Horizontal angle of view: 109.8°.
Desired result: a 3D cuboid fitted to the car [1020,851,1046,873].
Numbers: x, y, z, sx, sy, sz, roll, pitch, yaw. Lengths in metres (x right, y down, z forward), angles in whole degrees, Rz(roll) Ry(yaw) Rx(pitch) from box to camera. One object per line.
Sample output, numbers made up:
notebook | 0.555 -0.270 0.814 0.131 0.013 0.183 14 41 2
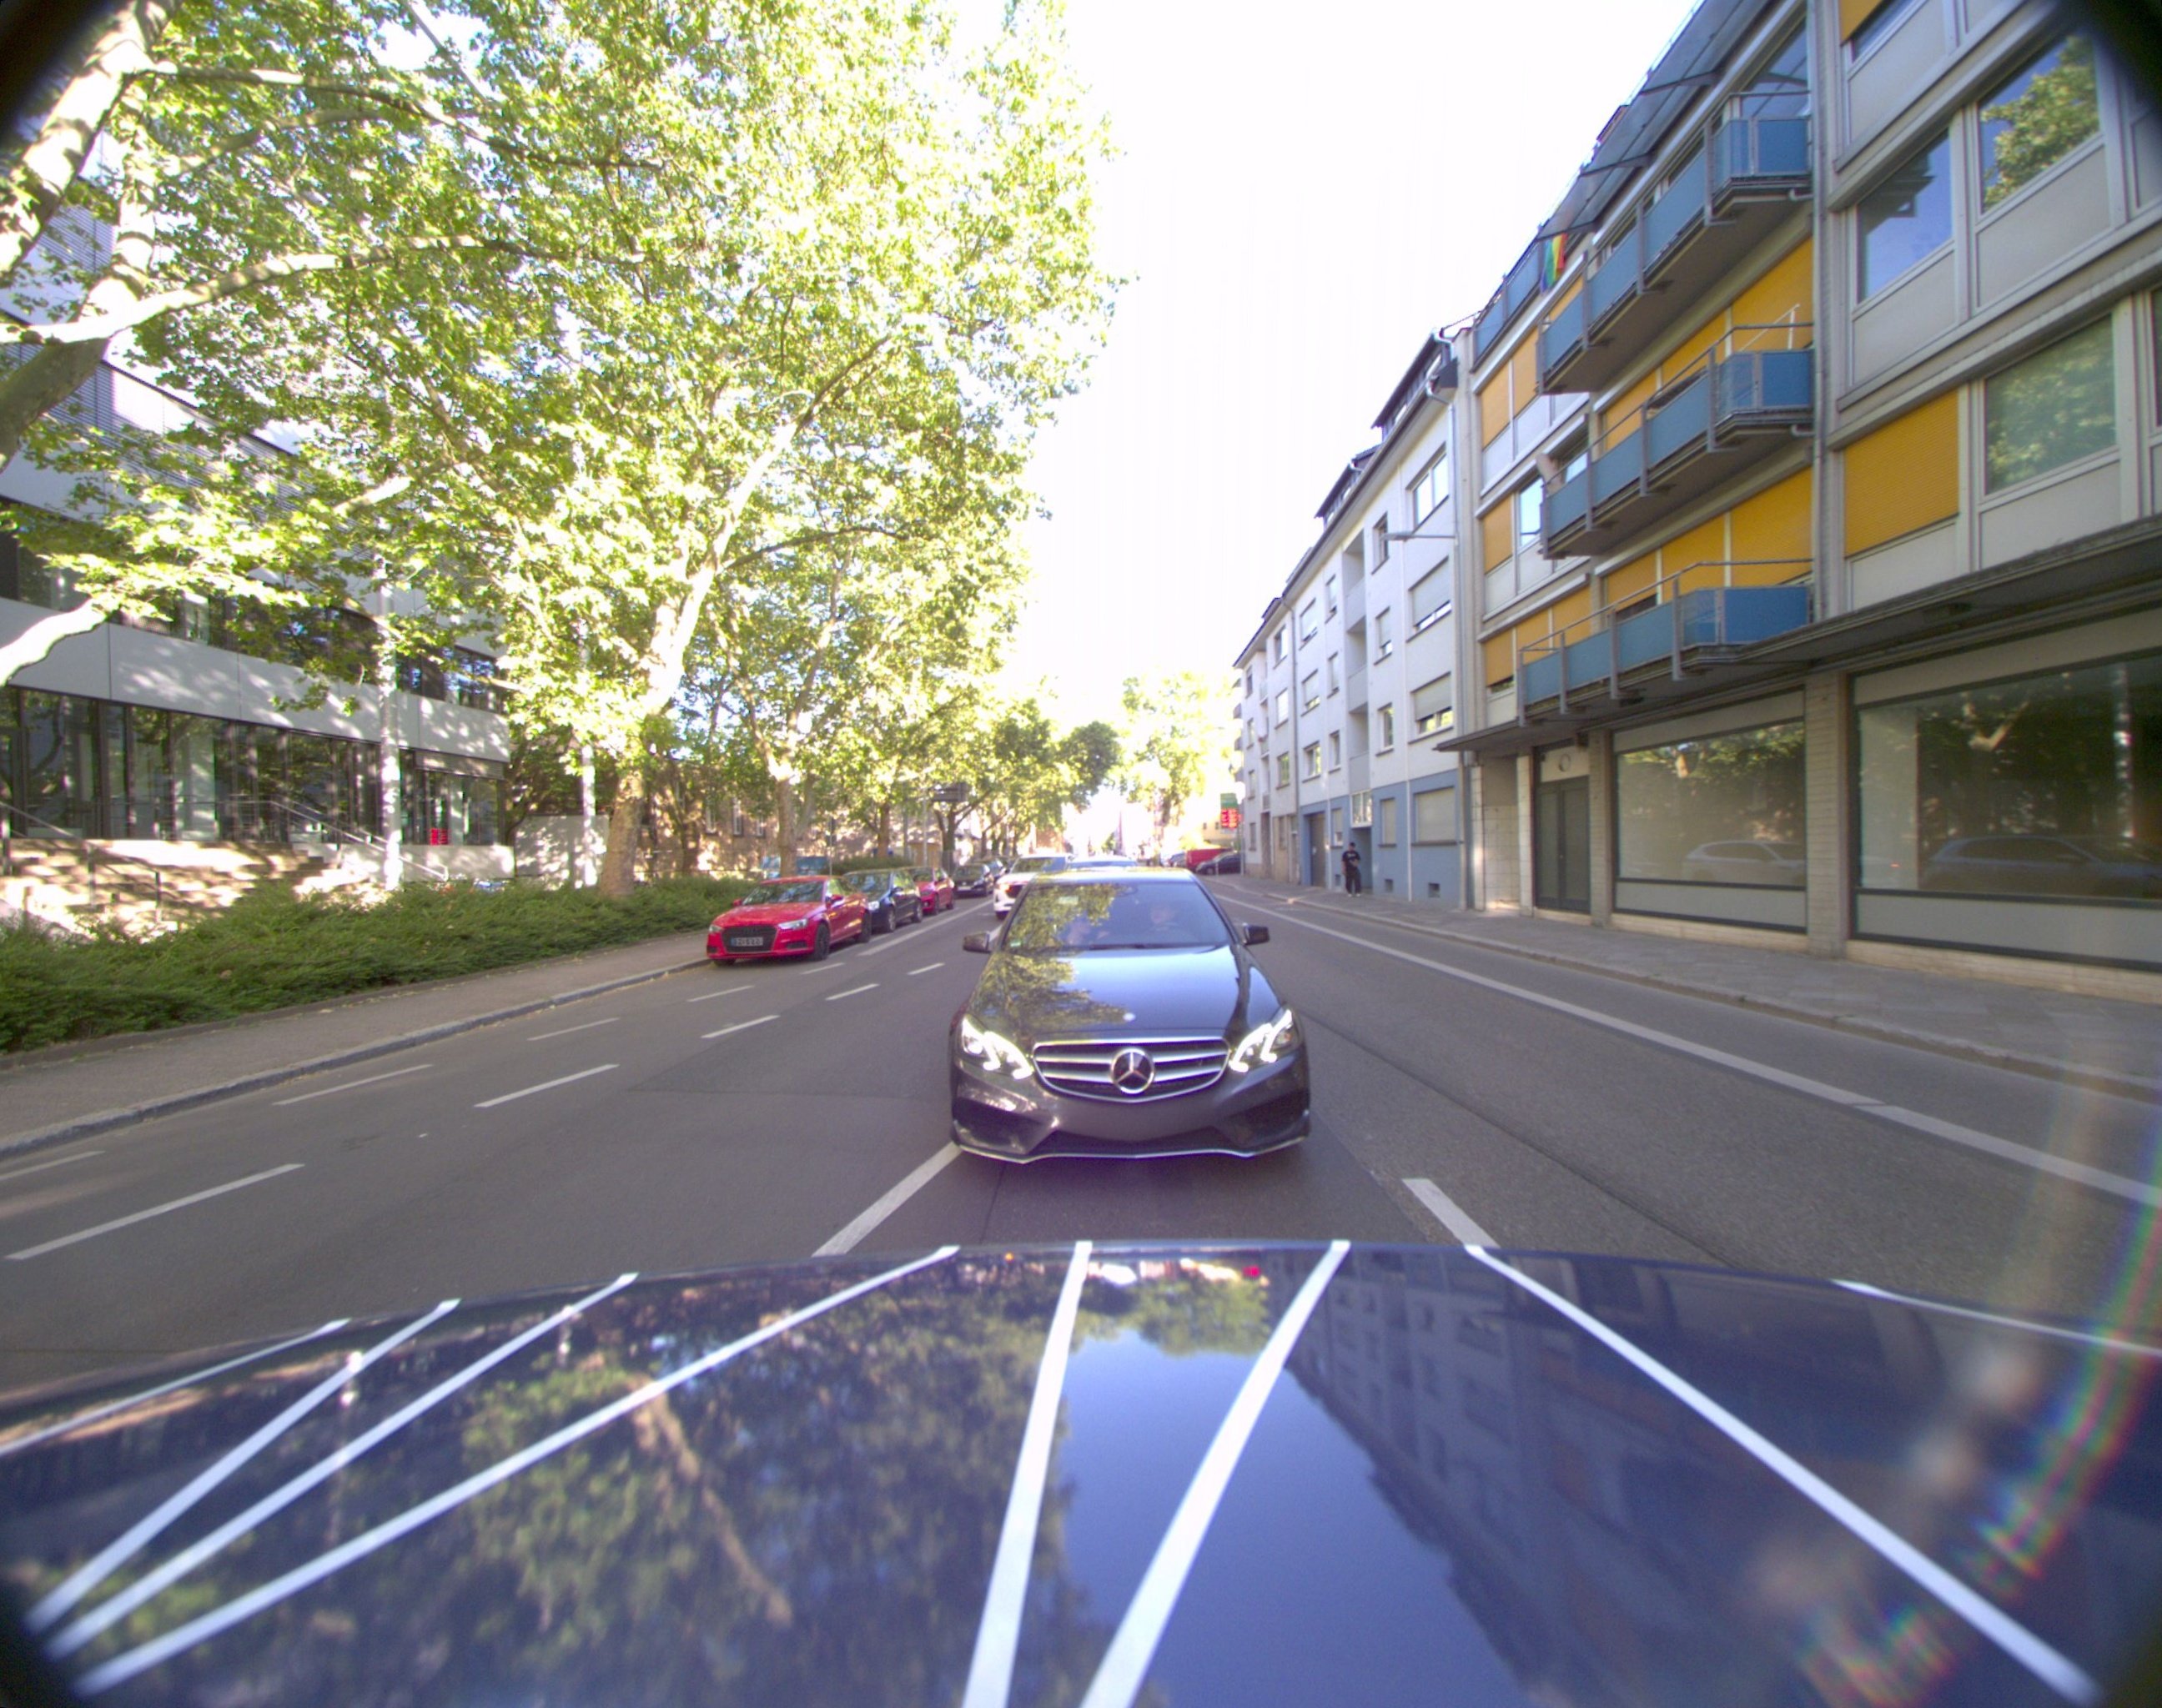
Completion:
car | -4.141 0.685 66.354 1.835 1.839 4.259 -2 0 1

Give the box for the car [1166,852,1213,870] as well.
car | 10.437 0.673 73.199 4.255 1.461 1.653 -4 0 1

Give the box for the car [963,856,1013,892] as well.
car | -4.593 0.966 38.081 1.835 1.596 4.161 -2 0 1

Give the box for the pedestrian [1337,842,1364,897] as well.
pedestrian | 8.520 0.491 24.028 0.612 1.685 0.655 -2 1 1

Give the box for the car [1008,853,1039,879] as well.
car | -4.175 0.815 55.646 1.835 1.750 4.259 -2 0 1

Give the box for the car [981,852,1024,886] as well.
car | -4.506 0.824 44.121 1.835 1.787 4.463 -2 0 1

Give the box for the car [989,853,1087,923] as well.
car | -1.048 0.842 21.170 1.908 1.678 4.814 -2 0 6

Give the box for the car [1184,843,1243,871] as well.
car | 10.419 0.222 60.136 4.255 1.907 1.818 -4 0 0

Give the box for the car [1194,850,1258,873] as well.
car | 10.404 0.517 54.754 4.255 1.392 1.653 -4 0 1

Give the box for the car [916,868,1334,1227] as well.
car | 0.228 0.917 5.578 1.849 1.490 4.302 -1 0 1

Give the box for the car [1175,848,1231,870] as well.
car | 10.056 0.408 62.718 4.255 1.461 1.653 -4 0 1

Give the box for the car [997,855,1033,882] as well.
car | -4.334 0.949 50.614 1.835 1.604 4.259 -2 0 1

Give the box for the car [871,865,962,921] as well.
car | -5.039 1.136 23.847 1.835 1.459 4.168 -2 0 1

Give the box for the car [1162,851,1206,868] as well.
car | 10.608 0.541 78.657 4.255 1.461 1.653 -4 0 1

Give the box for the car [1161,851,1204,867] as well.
car | 10.779 0.515 80.621 4.255 1.461 1.653 -4 0 1

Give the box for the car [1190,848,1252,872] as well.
car | 10.488 0.454 57.056 4.255 1.461 1.653 -4 0 1

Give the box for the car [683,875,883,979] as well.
car | -5.126 1.178 13.777 1.835 1.396 4.247 -2 0 1

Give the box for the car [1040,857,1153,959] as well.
car | 0.282 0.852 13.917 1.726 1.530 4.000 -1 0 1

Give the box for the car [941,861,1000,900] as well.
car | -4.742 1.106 33.184 1.835 1.459 4.168 -2 0 1

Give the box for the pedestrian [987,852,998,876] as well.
pedestrian | -6.903 0.762 59.270 0.660 1.849 0.641 -2 1 1

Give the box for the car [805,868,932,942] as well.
car | -5.037 1.151 18.637 1.835 1.438 4.168 -2 0 1
